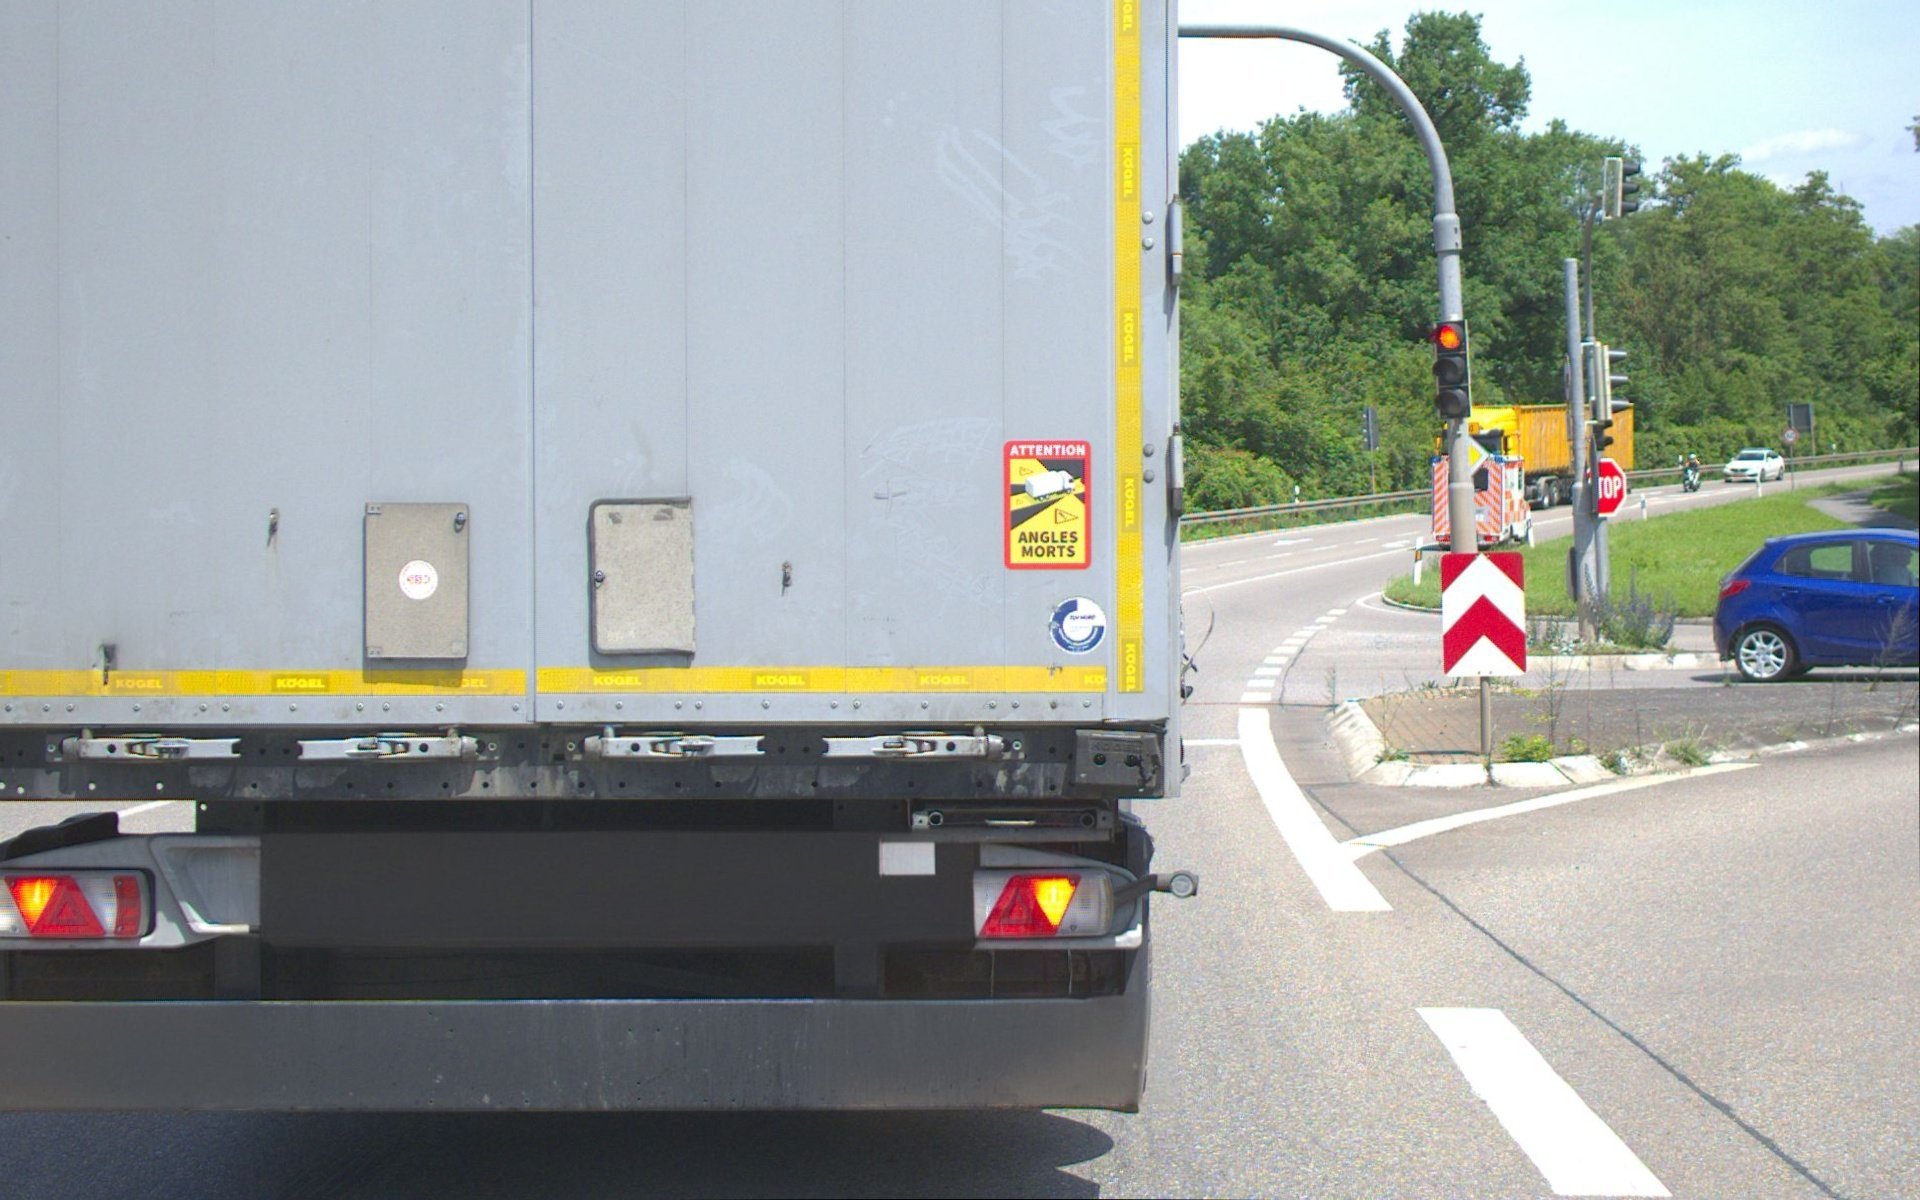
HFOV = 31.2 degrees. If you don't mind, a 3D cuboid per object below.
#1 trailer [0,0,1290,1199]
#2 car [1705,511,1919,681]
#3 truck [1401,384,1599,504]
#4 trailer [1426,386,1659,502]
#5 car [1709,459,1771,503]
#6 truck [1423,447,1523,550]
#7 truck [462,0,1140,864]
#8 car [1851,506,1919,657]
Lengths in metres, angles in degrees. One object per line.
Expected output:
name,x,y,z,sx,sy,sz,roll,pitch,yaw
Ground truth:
trailer,-0.788,-0.780,12.623,3.052,4.020,12.559,0,1,1
car,9.366,-0.020,33.343,3.851,1.607,1.878,0,-1,26
truck,21.044,-5.982,133.084,5.017,4.347,11.752,0,2,22
trailer,24.192,-6.306,141.063,5.017,4.347,20.815,0,2,22
car,36.909,-5.640,162.661,1.996,2.006,3.995,0,3,25
truck,14.874,-2.887,99.436,2.495,2.718,6.027,0,-1,12
truck,-0.645,-0.877,18.879,3.038,4.020,6.629,0,1,1
car,12.833,-0.186,40.124,4.428,1.712,2.000,0,-1,5
